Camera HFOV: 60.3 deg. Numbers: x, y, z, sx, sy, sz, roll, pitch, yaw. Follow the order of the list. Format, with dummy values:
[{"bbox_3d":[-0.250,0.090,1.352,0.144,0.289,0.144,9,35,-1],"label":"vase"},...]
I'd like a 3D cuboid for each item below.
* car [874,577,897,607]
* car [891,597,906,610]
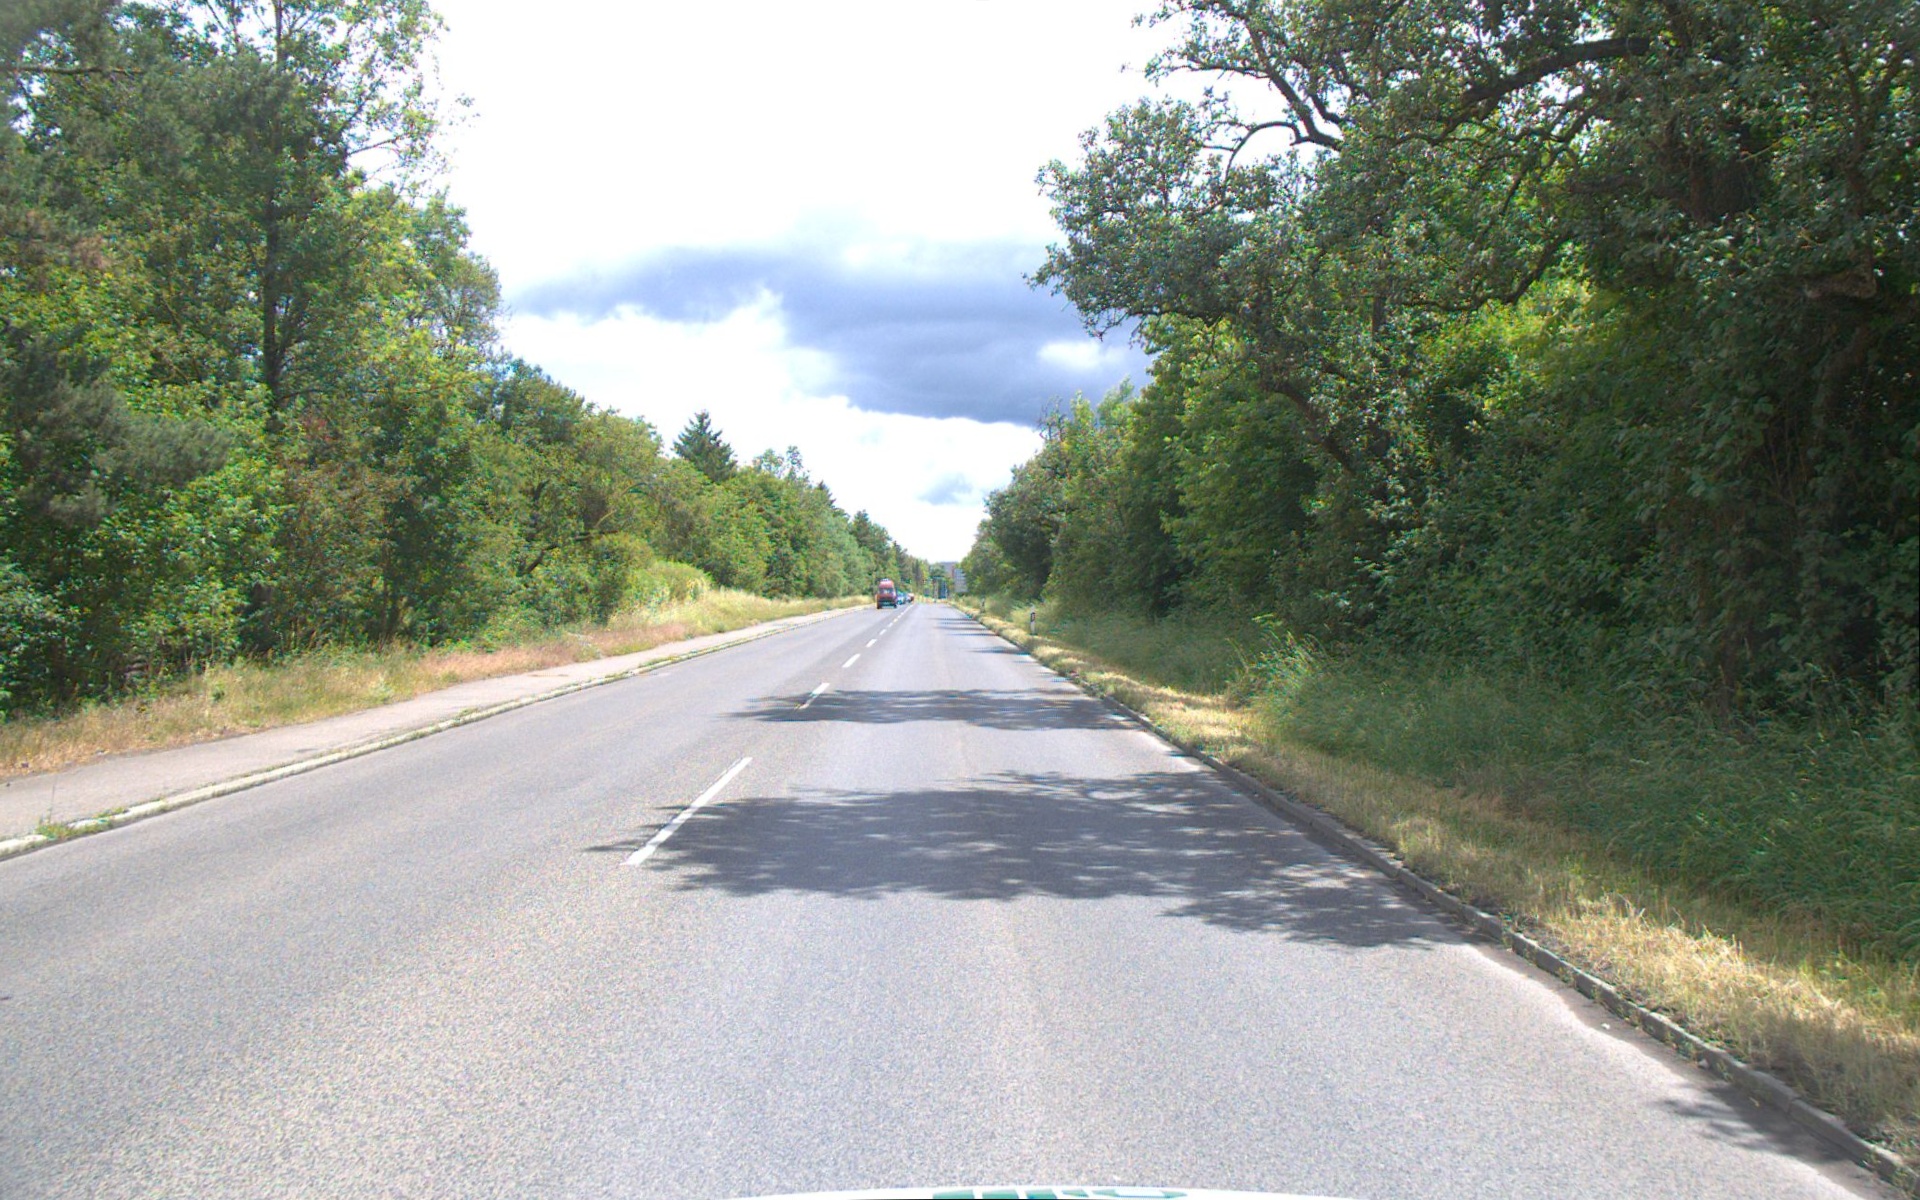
[{"bbox_3d":[-6.705,-0.744,149.345,1.929,2.594,4.723,-3,0,-1],"label":"car"},{"bbox_3d":[-7.383,0.446,198.508,1.748,1.472,4.450,-3,0,-2],"label":"car"}]
